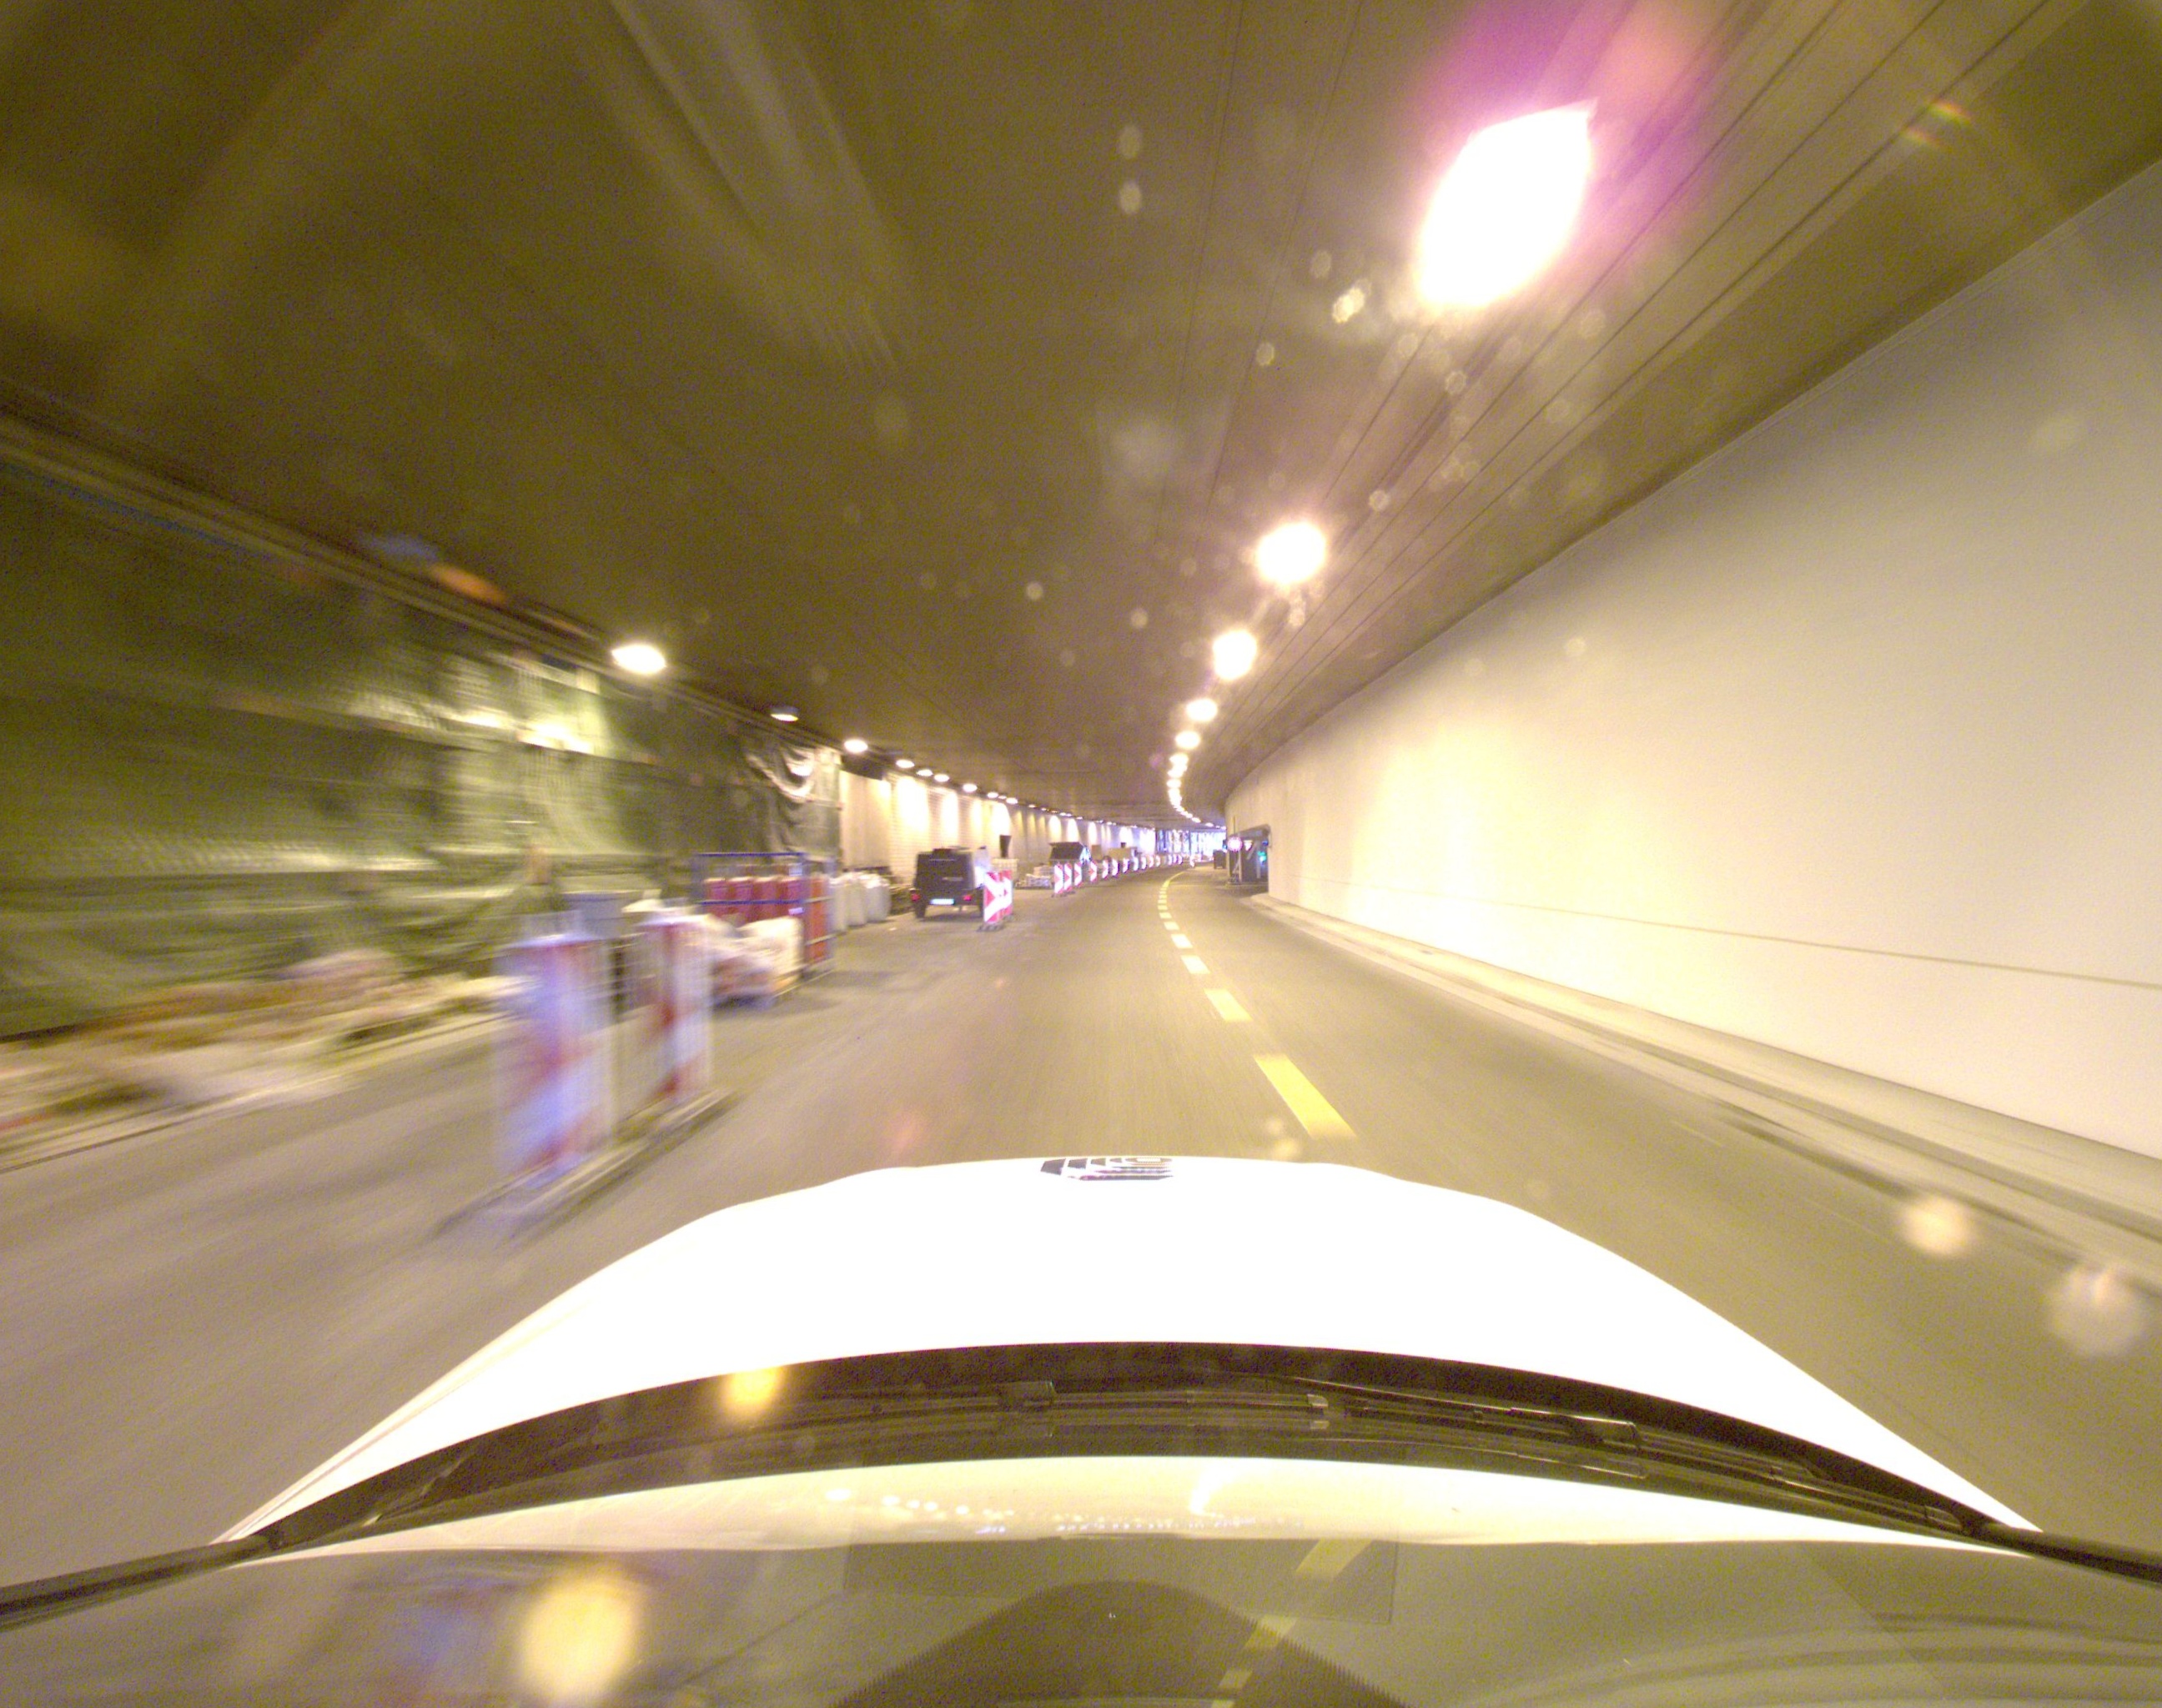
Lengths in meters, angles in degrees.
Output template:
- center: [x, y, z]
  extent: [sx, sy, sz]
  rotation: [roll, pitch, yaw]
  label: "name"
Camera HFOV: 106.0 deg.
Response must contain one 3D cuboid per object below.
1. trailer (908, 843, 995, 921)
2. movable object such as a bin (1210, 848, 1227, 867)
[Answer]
- center: [-3.200, 0.665, 20.589]
  extent: [1.574, 1.798, 2.941]
  rotation: [-1, 0, 3]
  label: "trailer"
- center: [10.963, 0.284, 64.732]
  extent: [1.187, 1.460, 1.610]
  rotation: [-4, -1, 11]
  label: "movable object such as a bin"
